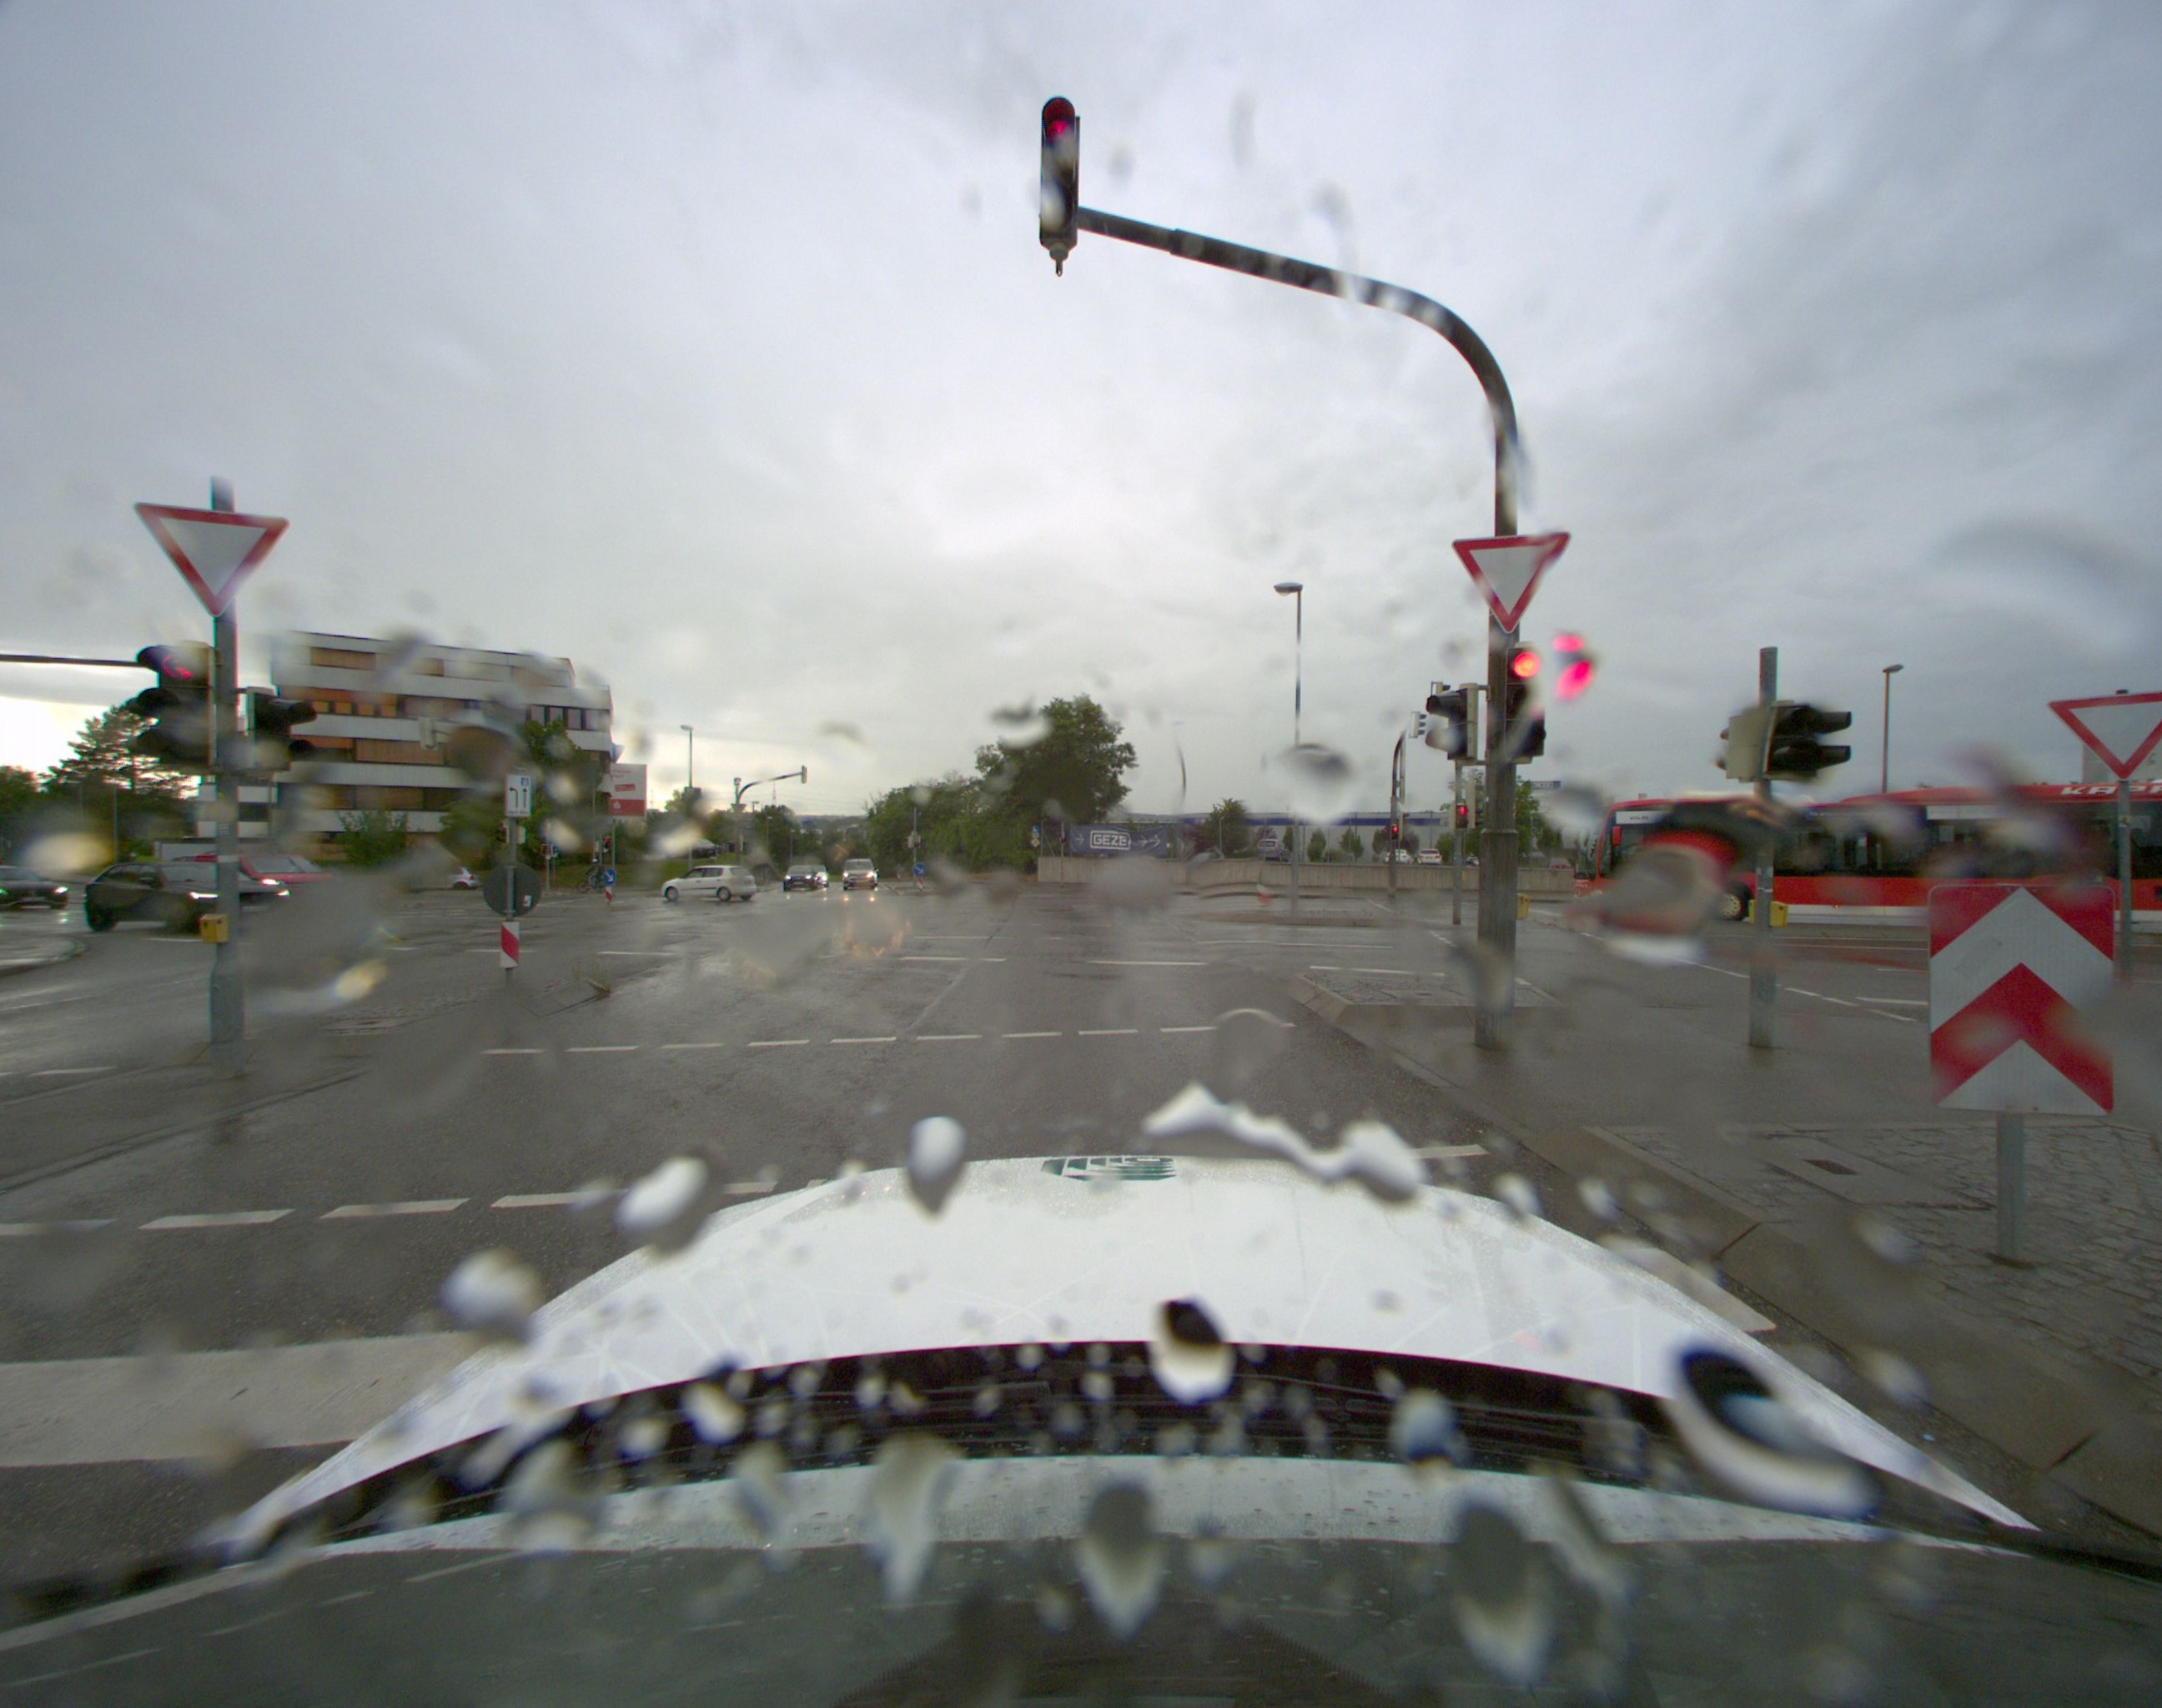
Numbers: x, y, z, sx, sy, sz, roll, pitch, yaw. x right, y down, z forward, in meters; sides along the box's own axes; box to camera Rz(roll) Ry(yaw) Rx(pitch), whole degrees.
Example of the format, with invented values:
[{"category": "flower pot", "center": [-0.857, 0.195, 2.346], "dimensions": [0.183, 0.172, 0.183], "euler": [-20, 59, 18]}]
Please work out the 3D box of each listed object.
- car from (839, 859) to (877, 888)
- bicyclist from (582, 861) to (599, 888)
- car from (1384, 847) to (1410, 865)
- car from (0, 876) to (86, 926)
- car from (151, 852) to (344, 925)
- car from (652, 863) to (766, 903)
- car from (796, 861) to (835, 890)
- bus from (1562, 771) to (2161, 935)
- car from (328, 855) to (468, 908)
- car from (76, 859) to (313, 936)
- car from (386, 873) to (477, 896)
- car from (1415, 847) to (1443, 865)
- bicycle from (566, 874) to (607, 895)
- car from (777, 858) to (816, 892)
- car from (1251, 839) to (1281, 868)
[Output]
[{"category": "car", "center": [-13.105, 1.110, 48.016], "dimensions": [1.995, 1.618, 3.983], "euler": [0, 0, -13]}, {"category": "bicyclist", "center": [-26.150, 1.091, 43.429], "dimensions": [0.542, 1.446, 0.602], "euler": [0, 0, -5]}, {"category": "car", "center": [26.374, 0.125, 67.860], "dimensions": [1.976, 1.478, 4.021], "euler": [0, 0, 22]}, {"category": "car", "center": [-36.246, 1.547, 27.455], "dimensions": [4.620, 1.476, 2.010], "euler": [0, 0, 20]}, {"category": "car", "center": [-24.609, 0.970, 24.081], "dimensions": [4.734, 2.013, 2.009], "euler": [0, 0, 17]}, {"category": "car", "center": [-15.706, 1.199, 34.475], "dimensions": [3.960, 1.596, 1.964], "euler": [0, 0, 12]}, {"category": "car", "center": [-18.212, 1.445, 56.053], "dimensions": [1.994, 1.895, 3.986], "euler": [0, 0, -10]}, {"category": "bus", "center": [18.702, -0.110, 19.309], "dimensions": [12.176, 3.321, 3.090], "euler": [1, 0, 19]}, {"category": "car", "center": [-24.934, 0.955, 29.769], "dimensions": [4.108, 1.840, 2.009], "euler": [0, 0, 17]}, {"category": "car", "center": [-21.377, 0.993, 19.678], "dimensions": [4.581, 1.679, 2.043], "euler": [-1, 0, 17]}, {"category": "car", "center": [-35.032, 1.615, 44.040], "dimensions": [3.522, 1.105, 1.805], "euler": [0, 0, -26]}, {"category": "car", "center": [28.680, 0.133, 67.181], "dimensions": [1.976, 1.478, 4.021], "euler": [0, 0, 21]}, {"category": "bicycle", "center": [-26.339, 1.624, 43.410], "dimensions": [1.771, 1.052, 0.609], "euler": [0, 0, -5]}, {"category": "car", "center": [-16.899, 1.216, 48.532], "dimensions": [1.998, 1.895, 3.978], "euler": [0, 0, -16]}, {"category": "car", "center": [13.089, -0.051, 57.558], "dimensions": [1.979, 2.013, 4.015], "euler": [0, 0, 13]}]
